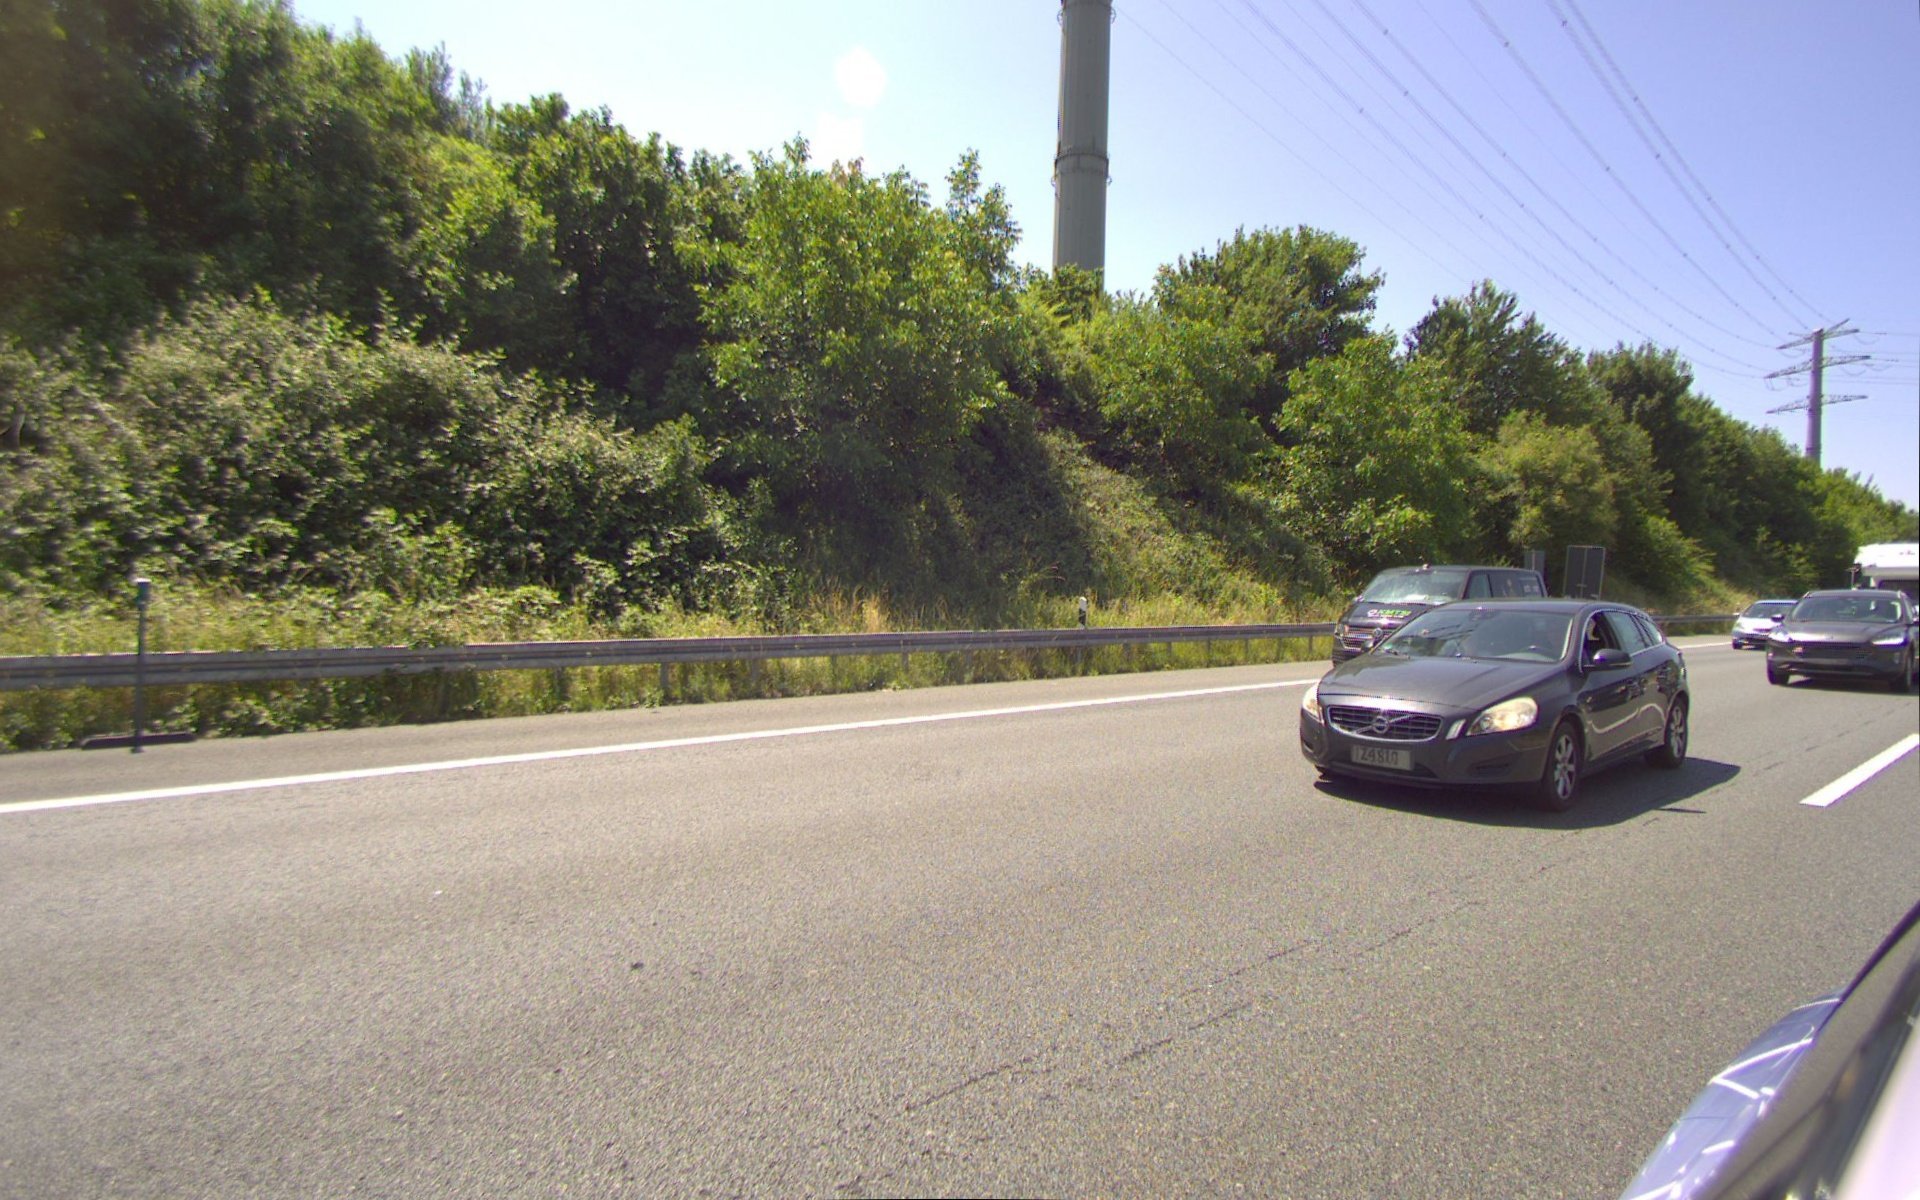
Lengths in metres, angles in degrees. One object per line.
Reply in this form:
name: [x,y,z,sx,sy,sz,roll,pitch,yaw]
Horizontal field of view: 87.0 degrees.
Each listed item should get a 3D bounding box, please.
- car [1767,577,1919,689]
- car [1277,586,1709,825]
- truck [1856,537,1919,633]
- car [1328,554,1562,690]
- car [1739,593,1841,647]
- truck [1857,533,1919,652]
car: [15.737,0.481,17.671,4.308,1.724,1.890,0,1,-42]
car: [4.498,0.624,8.251,4.158,1.455,1.798,0,1,-42]
truck: [45.746,-0.692,48.468,11.455,4.204,2.654,0,0,-40]
car: [8.054,0.294,16.595,4.616,1.928,1.787,0,0,-41]
car: [24.501,0.539,29.829,3.667,1.455,1.798,0,1,-42]
truck: [28.483,-0.226,29.123,9.720,3.053,2.513,0,0,-40]
